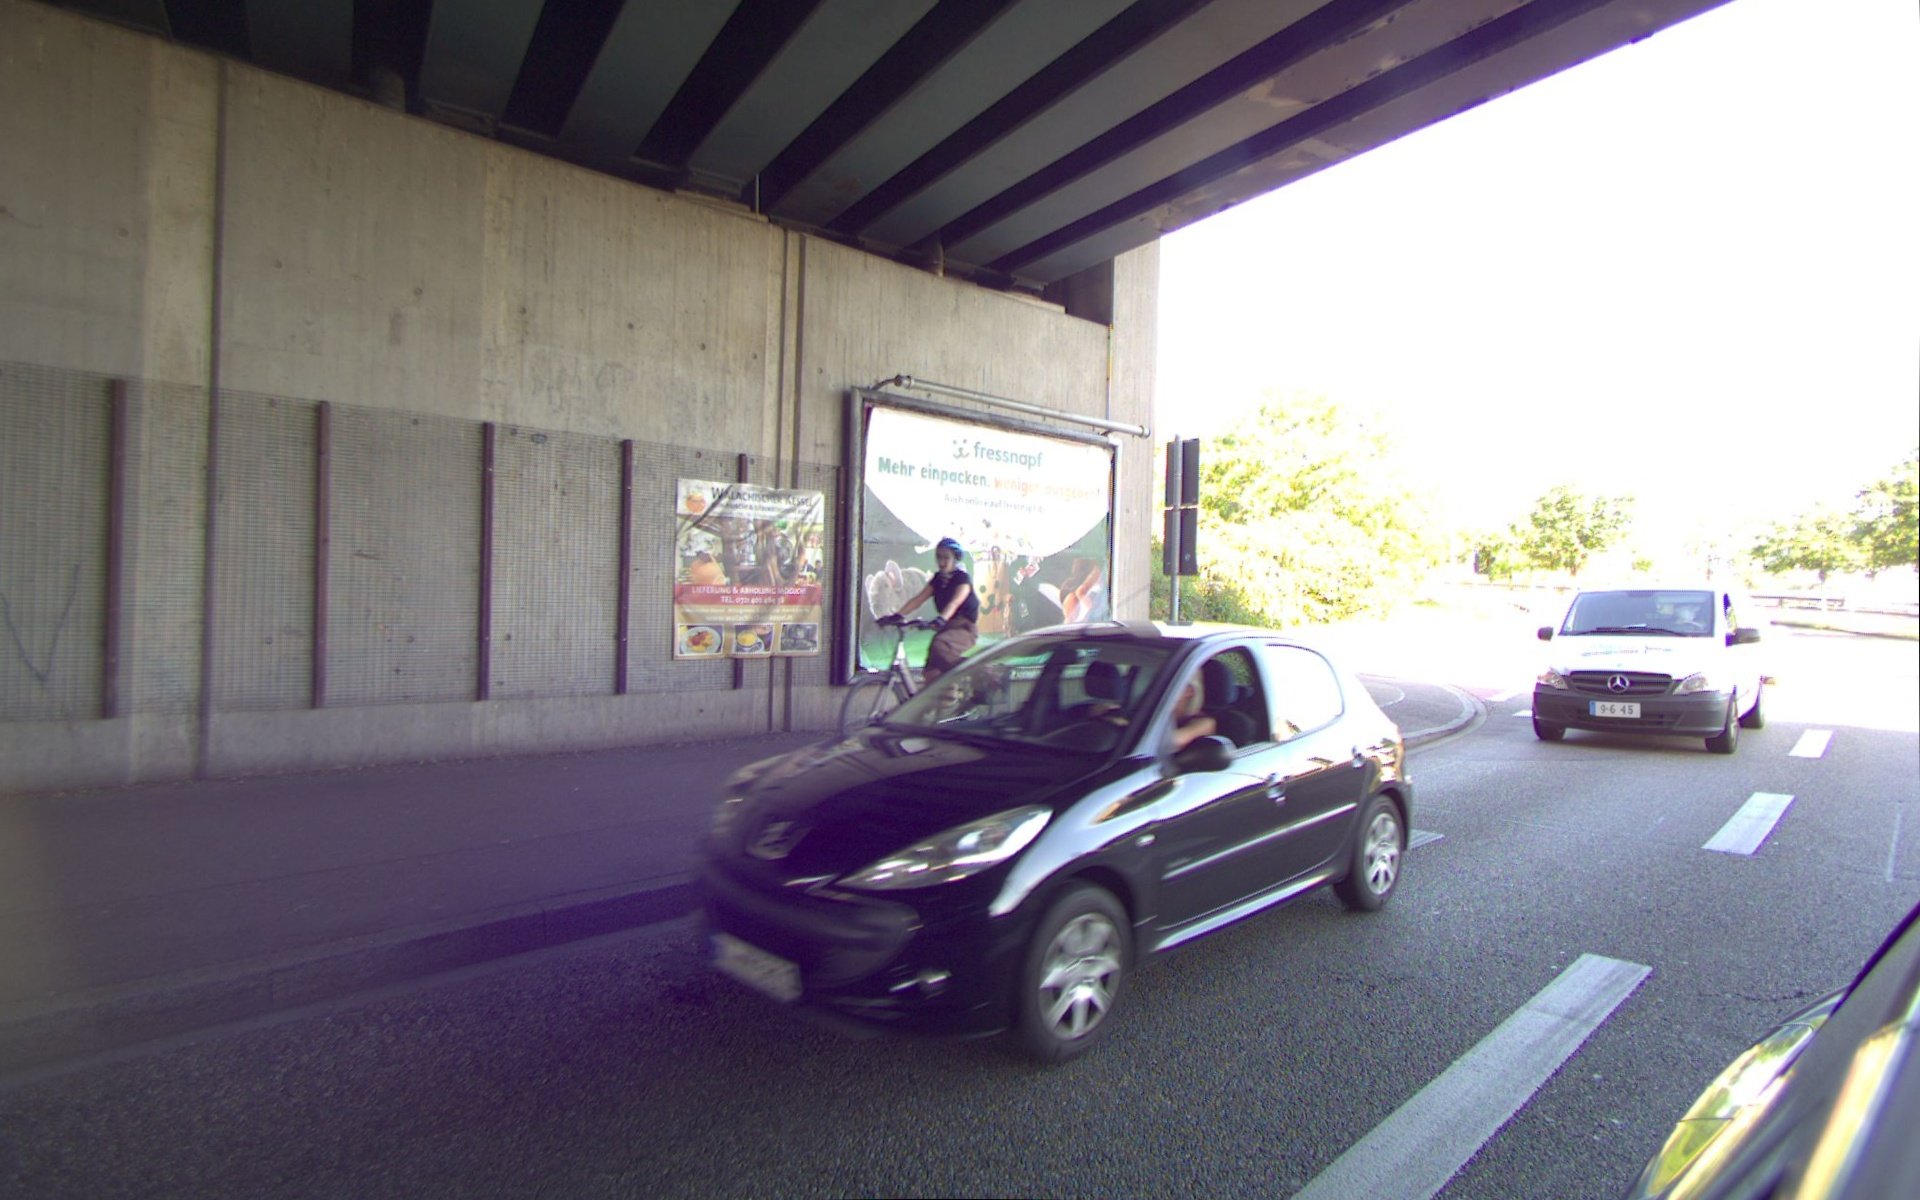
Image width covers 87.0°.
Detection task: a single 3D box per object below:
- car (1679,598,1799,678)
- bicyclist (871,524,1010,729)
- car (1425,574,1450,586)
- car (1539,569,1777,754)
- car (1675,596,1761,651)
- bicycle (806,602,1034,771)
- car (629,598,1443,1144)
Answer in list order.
[{"bbox_3d":[17.571,0.762,22.807,1.990,1.570,4.359,0,1,39],"label":"car"},{"bbox_3d":[-0.160,0.191,8.194,0.832,1.552,0.654,2,2,-40],"label":"bicyclist"},{"bbox_3d":[67.707,-2.794,143.462,1.774,1.626,4.290,1,1,5],"label":"car"},{"bbox_3d":[8.824,0.614,12.598,1.896,1.859,4.762,0,0,42],"label":"car"},{"bbox_3d":[23.861,0.686,31.980,1.766,1.621,4.059,0,0,31],"label":"car"},{"bbox_3d":[-0.288,0.646,8.115,1.746,1.181,0.652,2,2,-40],"label":"bicycle"},{"bbox_3d":[0.599,0.733,4.650,3.654,1.474,1.747,0,0,-43],"label":"car"}]
